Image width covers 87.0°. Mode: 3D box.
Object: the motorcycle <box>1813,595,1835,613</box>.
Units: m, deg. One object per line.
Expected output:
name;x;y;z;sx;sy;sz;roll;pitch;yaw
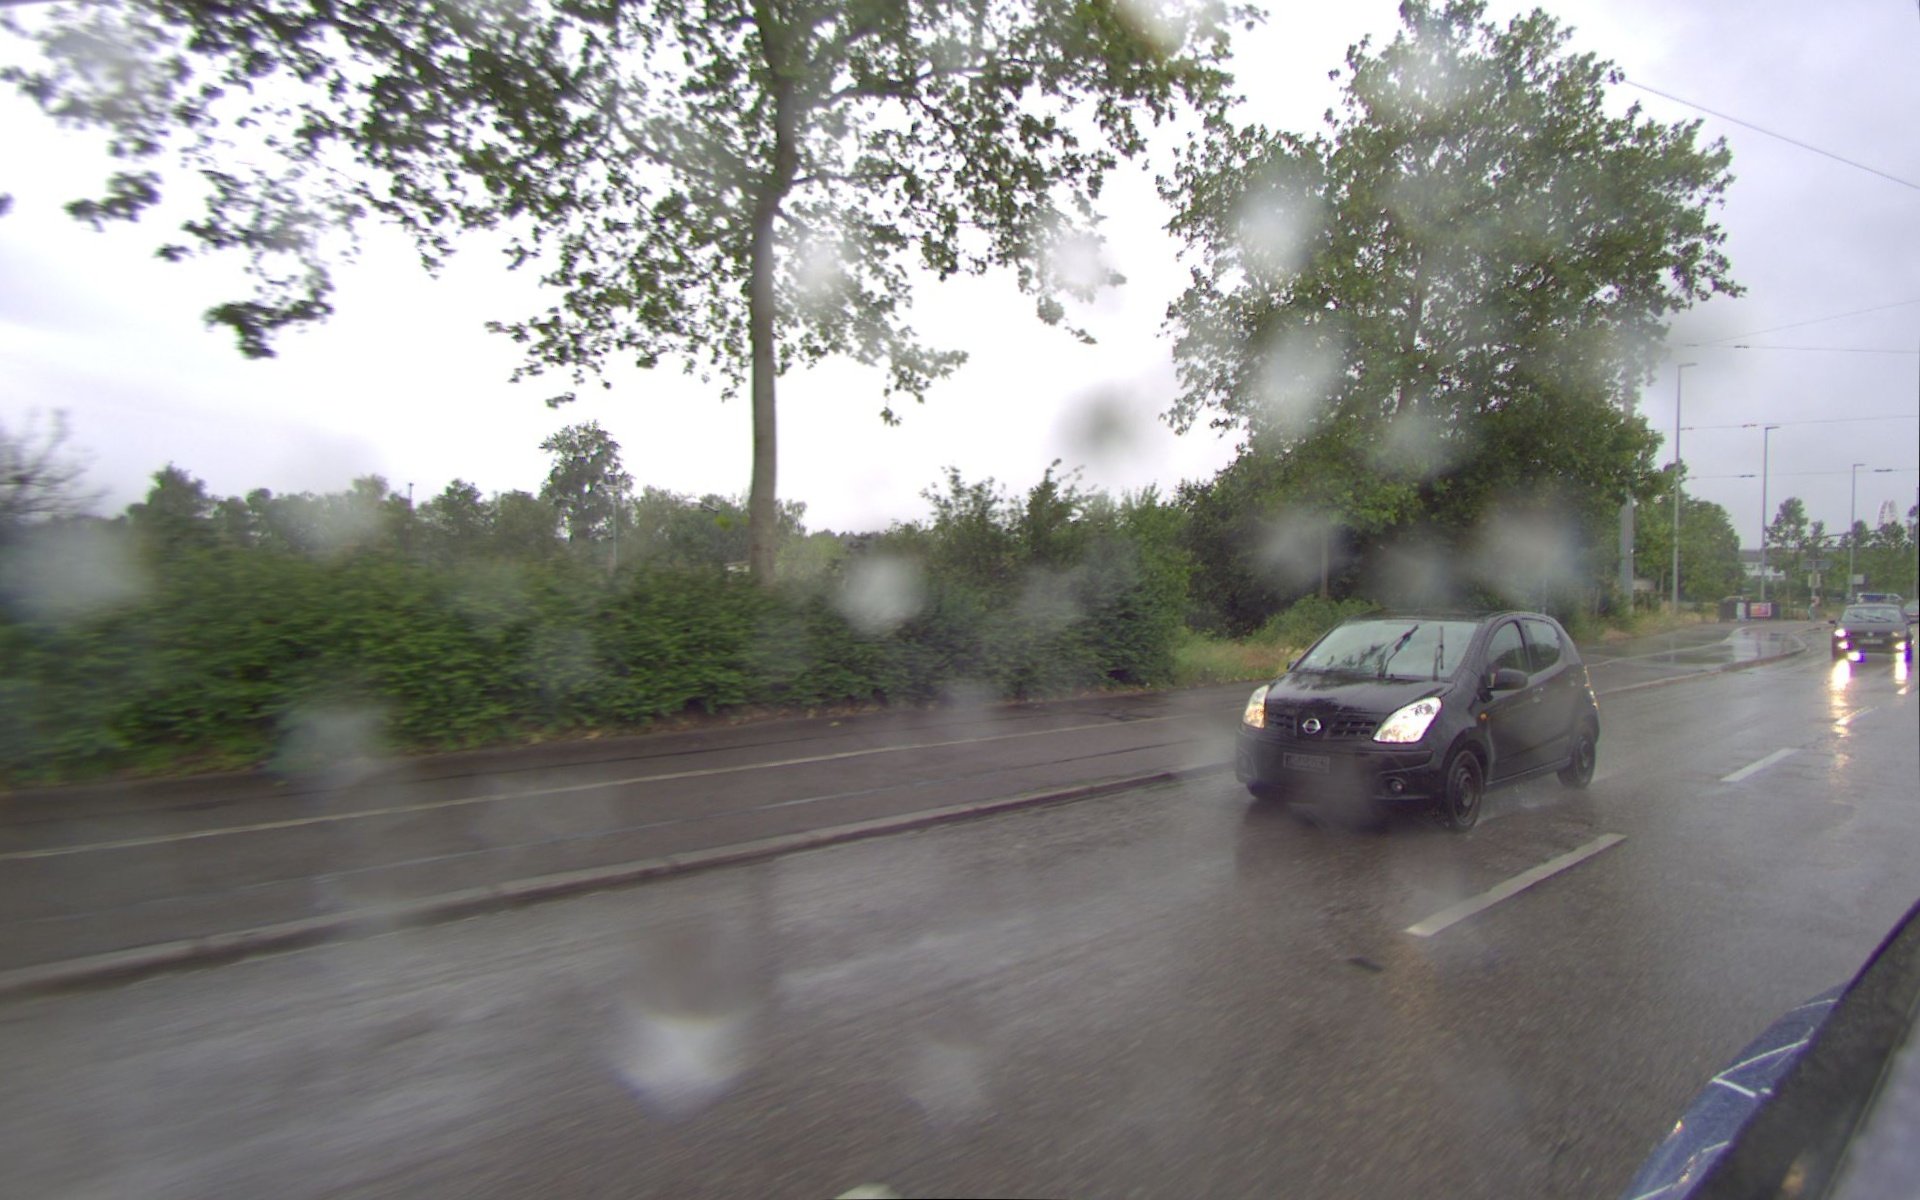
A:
motorcycle;59.576;0.290;69.790;1.418;1.234;0.635;1;1;-28

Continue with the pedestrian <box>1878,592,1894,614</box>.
pedestrian;68.241;0.226;74.569;0.607;1.631;0.734;-1;2;-40

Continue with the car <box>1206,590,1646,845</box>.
car;3.814;0.712;7.942;4.023;1.480;1.773;1;-1;-43

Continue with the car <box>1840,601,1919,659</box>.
car;25.741;0.801;27.841;3.971;1.504;1.714;1;-1;-40
